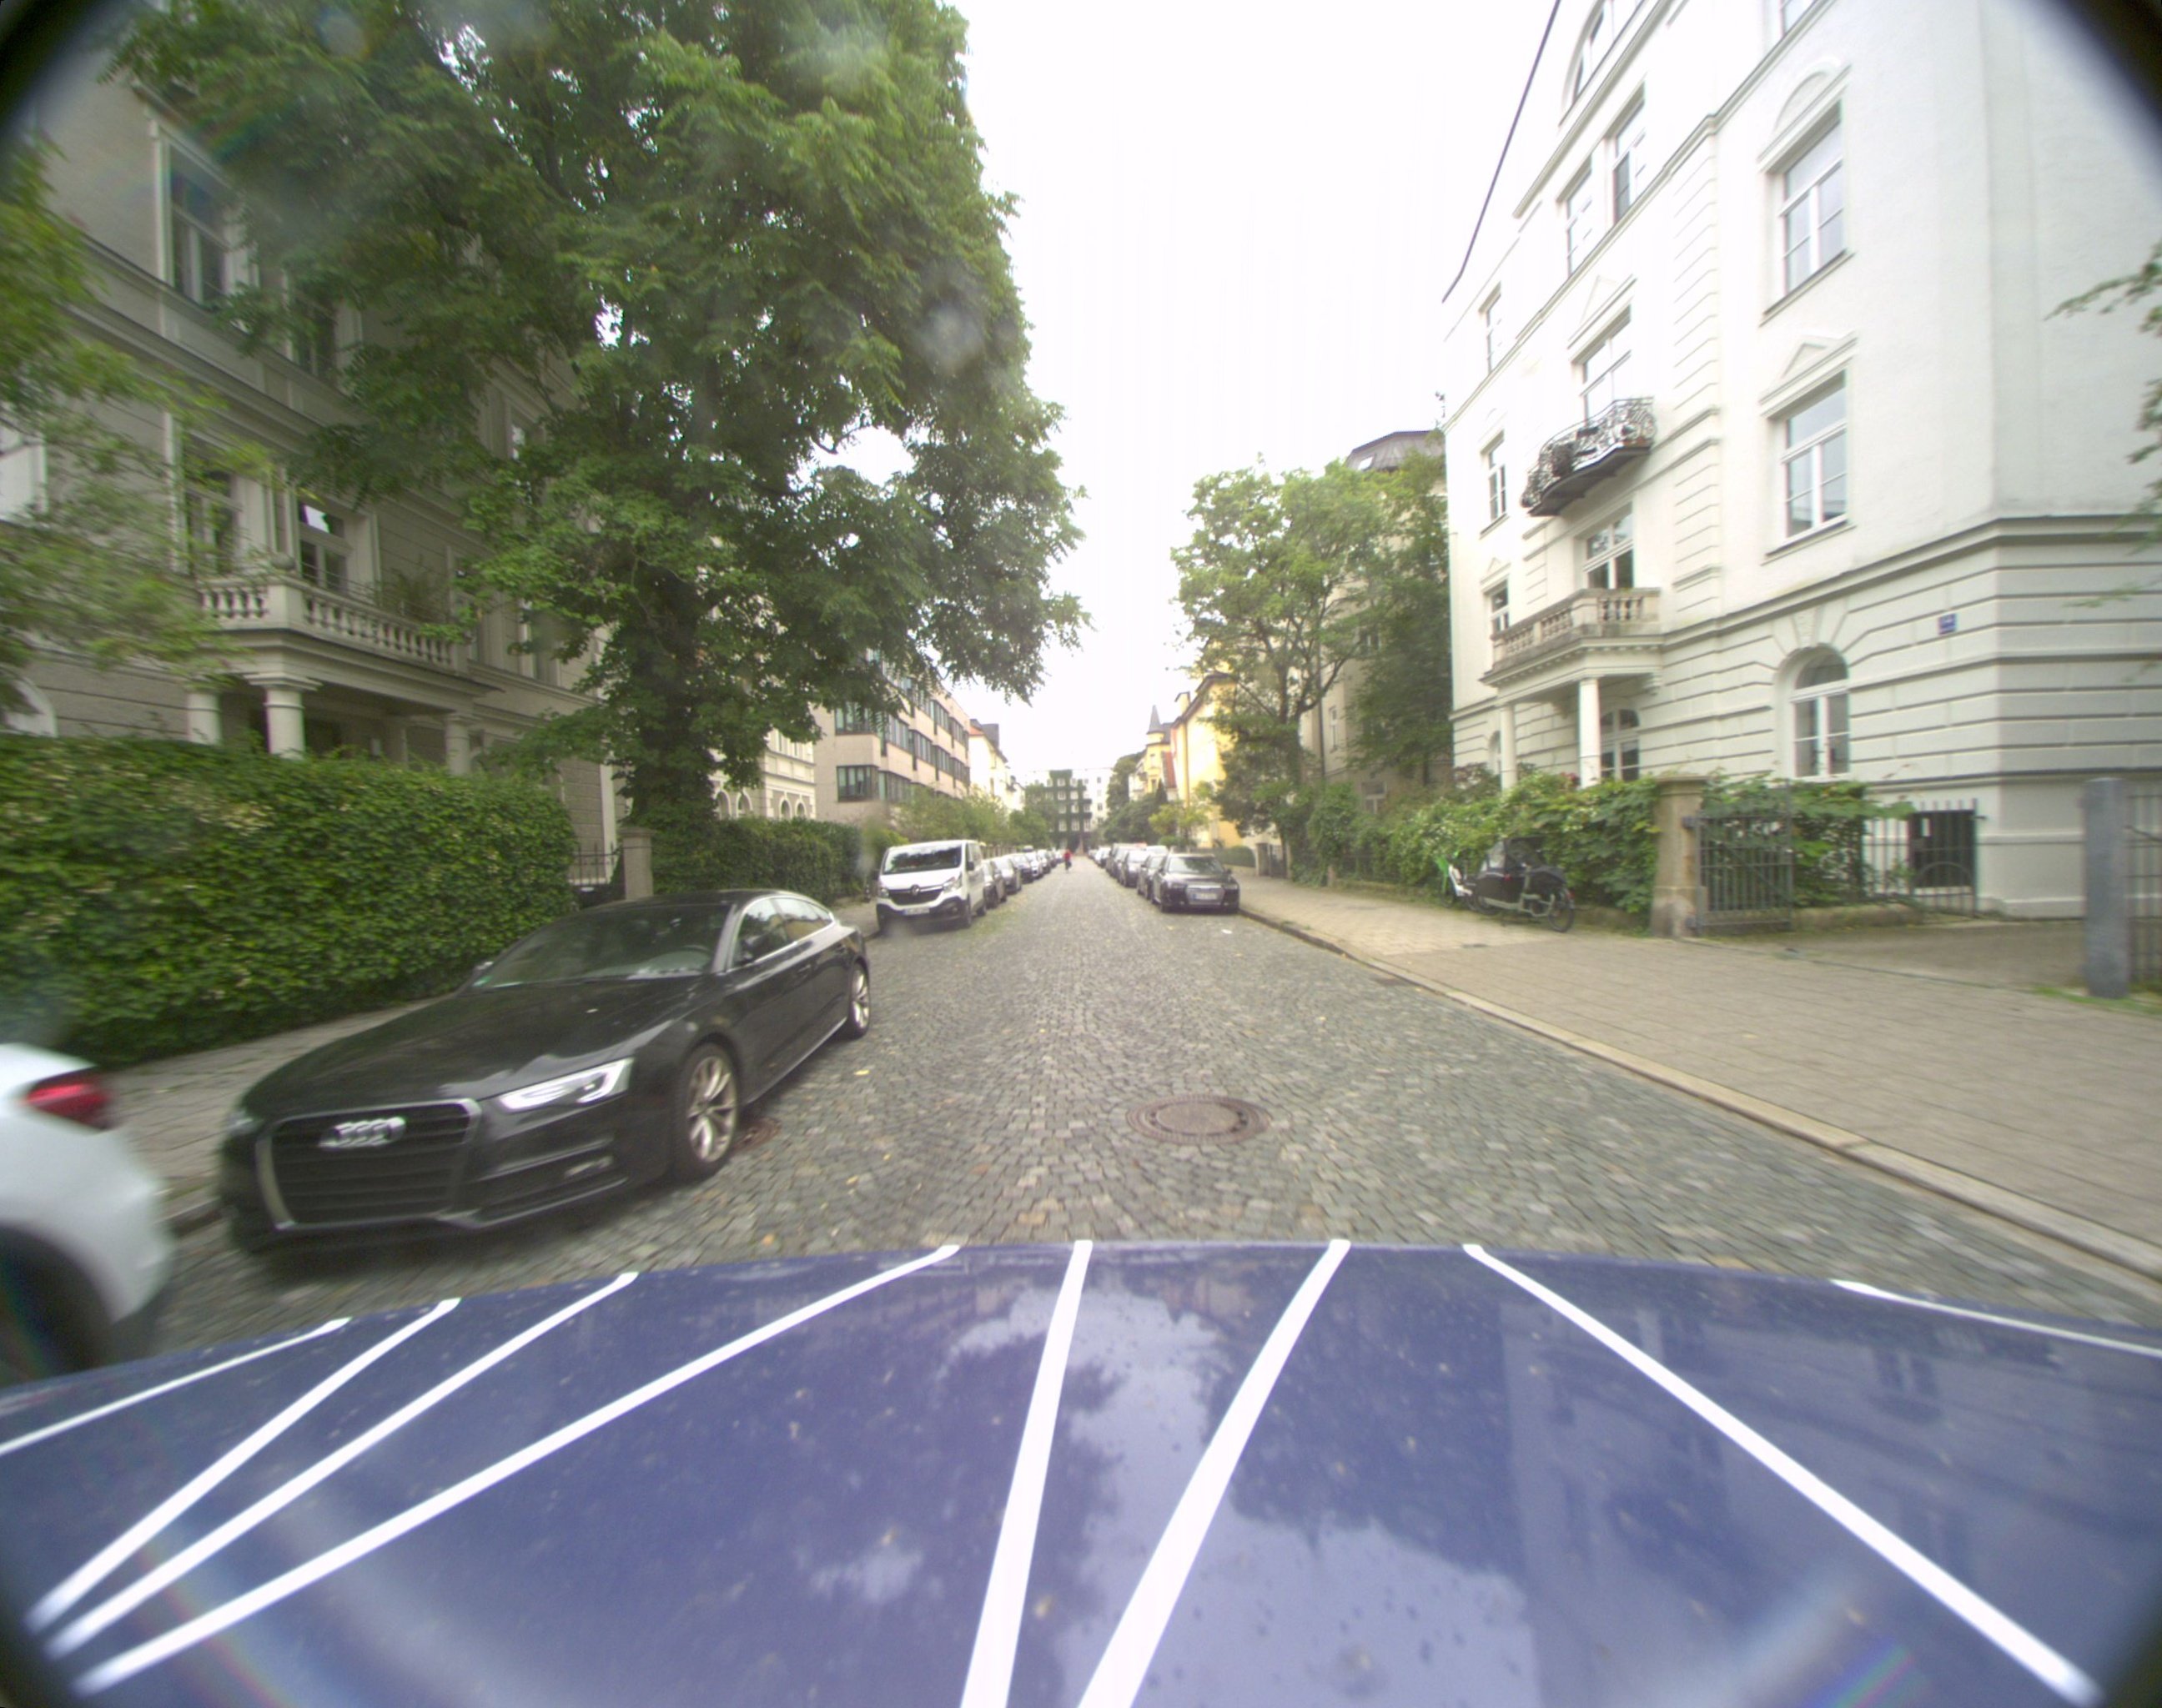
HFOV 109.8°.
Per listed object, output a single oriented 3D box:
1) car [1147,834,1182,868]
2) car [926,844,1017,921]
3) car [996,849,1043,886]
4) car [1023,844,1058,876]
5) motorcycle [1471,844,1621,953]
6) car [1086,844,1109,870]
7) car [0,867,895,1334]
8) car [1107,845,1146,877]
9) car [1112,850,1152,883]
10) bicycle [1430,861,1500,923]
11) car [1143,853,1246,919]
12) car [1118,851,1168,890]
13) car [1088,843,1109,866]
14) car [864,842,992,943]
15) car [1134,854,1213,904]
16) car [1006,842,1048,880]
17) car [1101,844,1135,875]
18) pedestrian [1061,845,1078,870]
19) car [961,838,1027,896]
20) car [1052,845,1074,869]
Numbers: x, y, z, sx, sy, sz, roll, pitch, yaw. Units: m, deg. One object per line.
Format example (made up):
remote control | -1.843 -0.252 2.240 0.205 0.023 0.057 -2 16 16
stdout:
car | 5.285 -0.224 48.713 1.763 2.002 3.999 -3 1 1
car | -3.149 0.752 22.732 1.998 2.002 3.999 -3 1 1
car | -3.169 0.678 39.743 1.998 1.705 3.999 -3 1 1
car | -2.687 0.360 51.365 1.998 2.002 3.999 -3 1 1
motorcycle | 6.870 0.582 11.396 0.738 1.420 2.244 -4 1 -2
car | 1.400 0.240 63.649 1.763 2.002 3.999 -3 1 1
car | -2.774 0.860 4.909 1.924 1.291 4.807 -3 1 0
car | 2.451 0.354 42.004 1.886 1.561 3.999 -3 1 1
car | 2.391 0.538 36.395 1.681 1.369 3.999 -3 1 1
bicycle | 7.267 0.691 14.457 0.357 1.044 1.743 -3 1 -2
car | 2.735 0.717 19.430 1.886 1.411 4.807 0 1 0
car | 2.515 0.634 31.595 1.714 1.417 3.999 -3 1 1
car | 1.629 -0.013 71.337 1.791 2.002 3.214 -3 1 1
car | -3.282 0.715 17.294 1.819 1.809 4.807 -6 1 -1
car | 2.839 0.738 24.152 1.998 1.324 3.999 -3 1 1
car | -3.123 0.346 44.591 1.998 2.002 3.999 -3 1 1
car | 2.342 0.304 49.164 1.998 1.789 3.999 -3 1 1
pedestrian | -0.842 0.249 54.935 1.105 1.768 1.263 -3 2 1
car | -3.323 0.439 29.756 1.998 2.002 3.999 -3 1 1
car | -1.609 0.221 69.787 1.763 2.002 3.999 -3 1 1
